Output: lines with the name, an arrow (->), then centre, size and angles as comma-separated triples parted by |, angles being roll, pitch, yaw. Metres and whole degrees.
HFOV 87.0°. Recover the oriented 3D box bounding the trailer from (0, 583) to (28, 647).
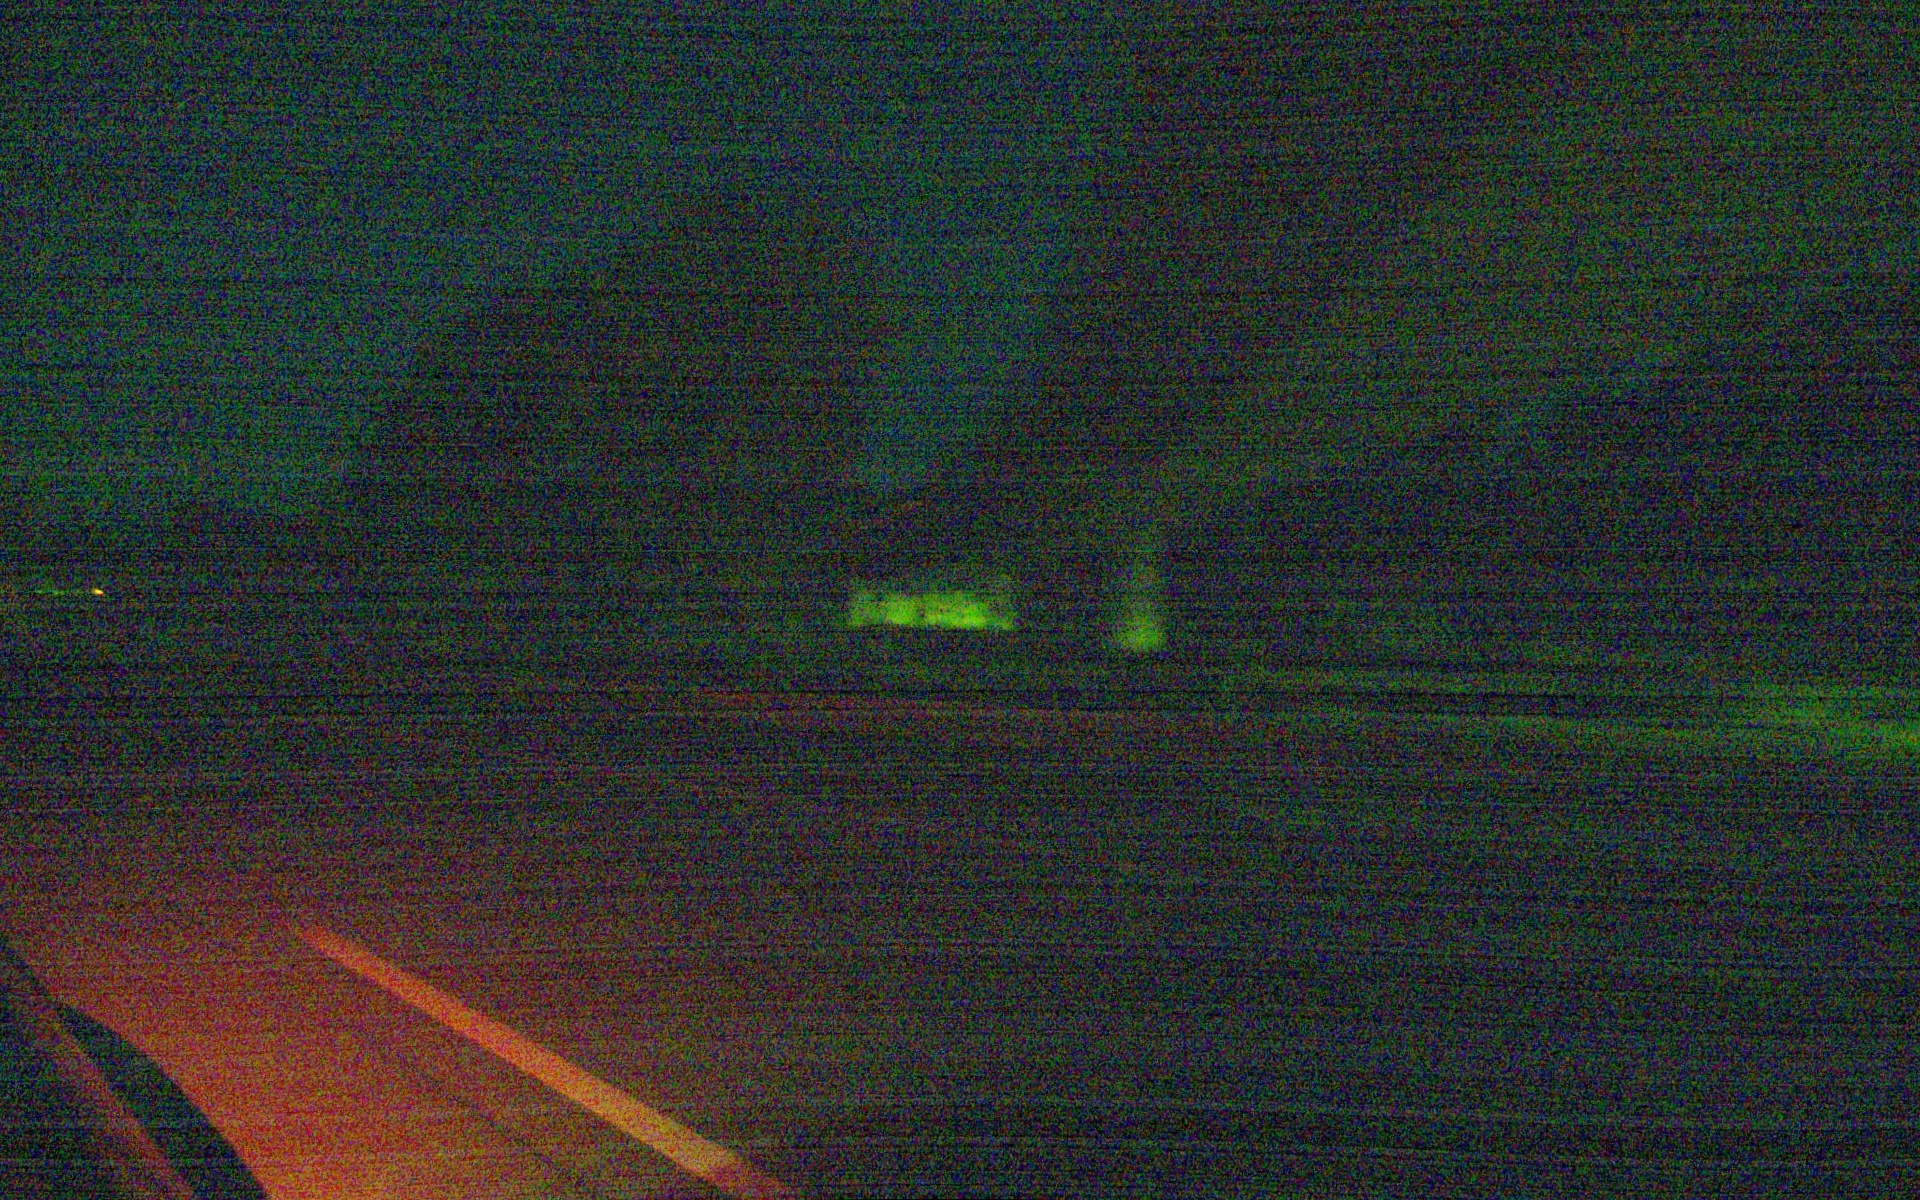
trailer -> -64.221, 1.025, 65.965 | 9.015, 3.987, 2.697 | -1, -2, 32
